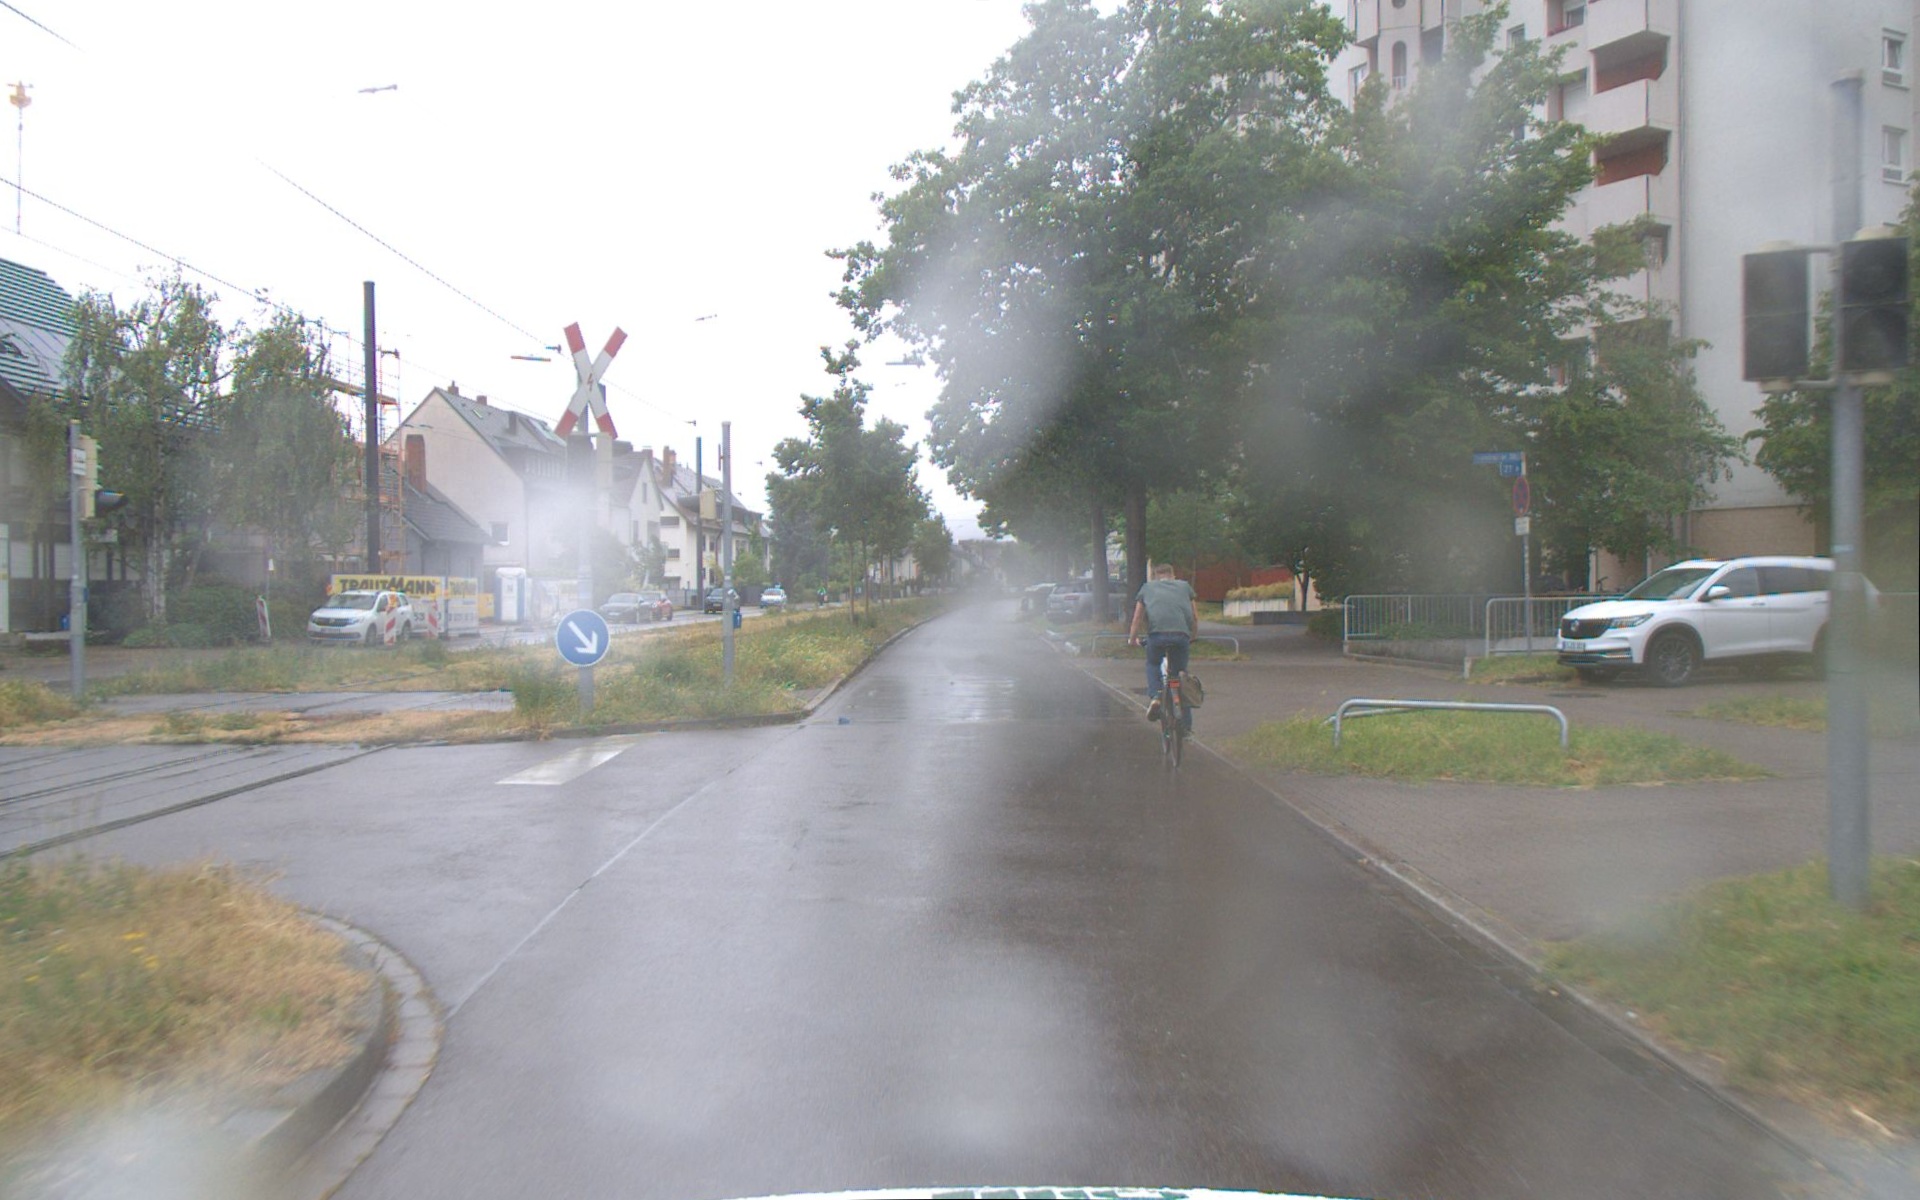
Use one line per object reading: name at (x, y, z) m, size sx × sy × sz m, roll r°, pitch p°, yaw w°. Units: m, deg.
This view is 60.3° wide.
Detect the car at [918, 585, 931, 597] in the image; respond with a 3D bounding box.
car at (-5.201, -1.322, 243.516) m, size 1.805 × 1.701 × 4.001 m, roll -1°, pitch 0°, yaw 1°

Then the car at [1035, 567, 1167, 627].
car at (4.861, -0.117, 56.829) m, size 4.095 × 1.749 × 1.979 m, roll -4°, pitch 2°, yaw -32°

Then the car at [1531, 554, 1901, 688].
car at (10.937, 0.264, 24.001) m, size 4.723 × 1.776 × 1.992 m, roll -1°, pitch 0°, yaw -15°

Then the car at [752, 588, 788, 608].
car at (-14.334, -0.168, 124.810) m, size 1.857 × 1.495 × 4.690 m, roll 1°, pitch 1°, yaw 4°

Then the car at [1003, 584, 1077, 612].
car at (4.391, -0.130, 90.561) m, size 3.996 × 1.468 × 1.565 m, roll -1°, pitch 0°, yaw -36°

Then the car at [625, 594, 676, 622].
car at (-15.293, 0.384, 81.921) m, size 1.640 × 1.266 × 3.856 m, roll 1°, pitch 1°, yaw 2°

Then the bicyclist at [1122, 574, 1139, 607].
bicyclist at (8.446, -0.465, 81.894) m, size 0.719 × 1.621 × 0.945 m, roll -1°, pitch 0°, yaw 0°

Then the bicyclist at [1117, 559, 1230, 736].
bicyclist at (1.835, 0.394, 14.354) m, size 0.793 × 1.458 × 1.060 m, roll -1°, pitch 0°, yaw -1°

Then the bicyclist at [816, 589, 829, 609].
bicyclist at (-12.219, -0.071, 146.913) m, size 0.997 × 1.715 × 1.092 m, roll -1°, pitch 0°, yaw 1°

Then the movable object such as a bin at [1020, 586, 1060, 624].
movable object such as a bin at (3.383, 0.218, 70.275) m, size 1.109 × 1.482 × 1.393 m, roll -7°, pitch 2°, yaw -20°

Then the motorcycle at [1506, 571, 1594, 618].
motorcycle at (17.018, -0.143, 47.740) m, size 0.876 × 1.311 × 2.273 m, roll -1°, pitch 0°, yaw -36°

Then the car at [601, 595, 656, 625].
car at (-15.336, 0.450, 76.655) m, size 1.629 × 1.266 × 4.072 m, roll 1°, pitch 1°, yaw 1°

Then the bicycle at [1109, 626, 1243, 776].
bicycle at (1.836, 0.826, 14.429) m, size 0.793 × 1.116 × 2.517 m, roll -1°, pitch 0°, yaw -1°

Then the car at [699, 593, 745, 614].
car at (-14.744, 0.202, 102.642) m, size 1.857 × 1.266 × 4.690 m, roll 1°, pitch 1°, yaw 4°

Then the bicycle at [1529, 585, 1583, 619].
bicycle at (16.682, 0.065, 46.307) m, size 0.404 × 0.941 × 1.446 m, roll -1°, pitch 0°, yaw -36°

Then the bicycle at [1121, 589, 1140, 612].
bicycle at (8.439, 0.022, 81.797) m, size 0.719 × 1.075 × 2.051 m, roll -1°, pitch 0°, yaw 1°

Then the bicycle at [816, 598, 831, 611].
bicycle at (-12.194, 0.401, 147.528) m, size 0.997 × 1.045 × 3.197 m, roll -1°, pitch 0°, yaw 1°

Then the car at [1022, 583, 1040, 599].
car at (7.586, -0.950, 177.682) m, size 1.795 × 1.614 × 4.001 m, roll -1°, pitch 0°, yaw 1°

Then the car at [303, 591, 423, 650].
car at (-17.034, 0.549, 47.415) m, size 1.675 × 1.569 × 4.423 m, roll 2°, pitch 1°, yaw 2°
